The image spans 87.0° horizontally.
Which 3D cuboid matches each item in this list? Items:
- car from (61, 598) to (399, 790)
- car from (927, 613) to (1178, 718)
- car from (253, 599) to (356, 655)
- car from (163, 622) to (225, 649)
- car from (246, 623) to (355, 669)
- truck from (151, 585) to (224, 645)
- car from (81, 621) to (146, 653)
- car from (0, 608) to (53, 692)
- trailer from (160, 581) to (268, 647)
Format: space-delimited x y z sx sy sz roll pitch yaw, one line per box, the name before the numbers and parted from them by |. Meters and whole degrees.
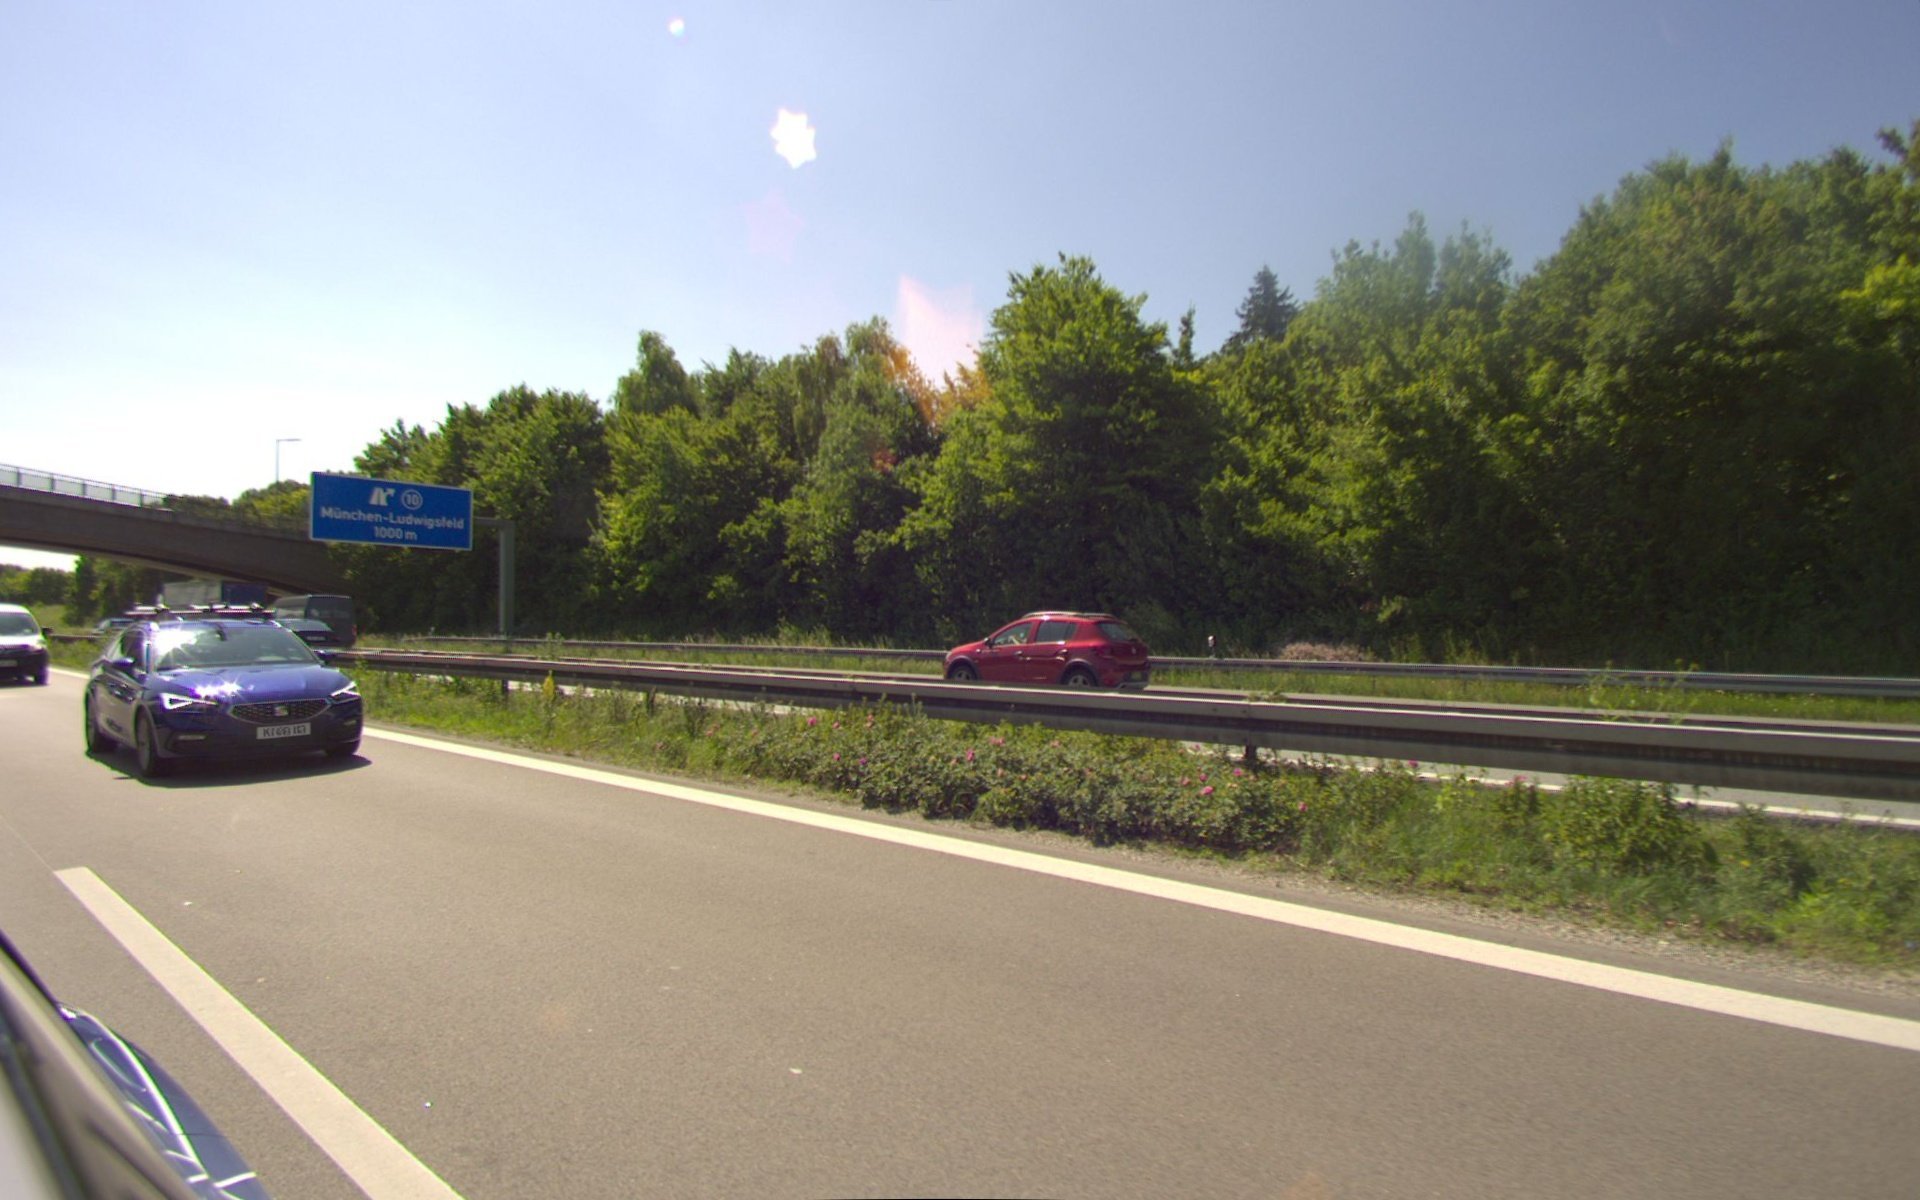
car | -7.827 0.840 10.711 4.236 1.638 1.881 -1 -1 39
car | 1.589 1.077 18.386 4.320 1.642 1.842 0 -1 43
car | -28.544 1.109 43.946 6.514 2.252 1.973 0 -1 41
car | -42.121 1.926 55.618 4.541 1.386 1.707 -1 -2 40
car | -21.394 1.449 32.776 4.541 1.386 1.707 -1 -2 40
truck | -55.392 1.138 72.501 6.205 4.092 2.756 -1 -4 41
car | -42.230 1.821 50.474 3.998 1.547 1.884 -1 -2 41
car | -21.717 1.061 22.506 3.979 1.736 1.845 0 -1 42
trailer | -50.681 1.015 68.497 13.538 4.071 2.756 -1 -4 41
